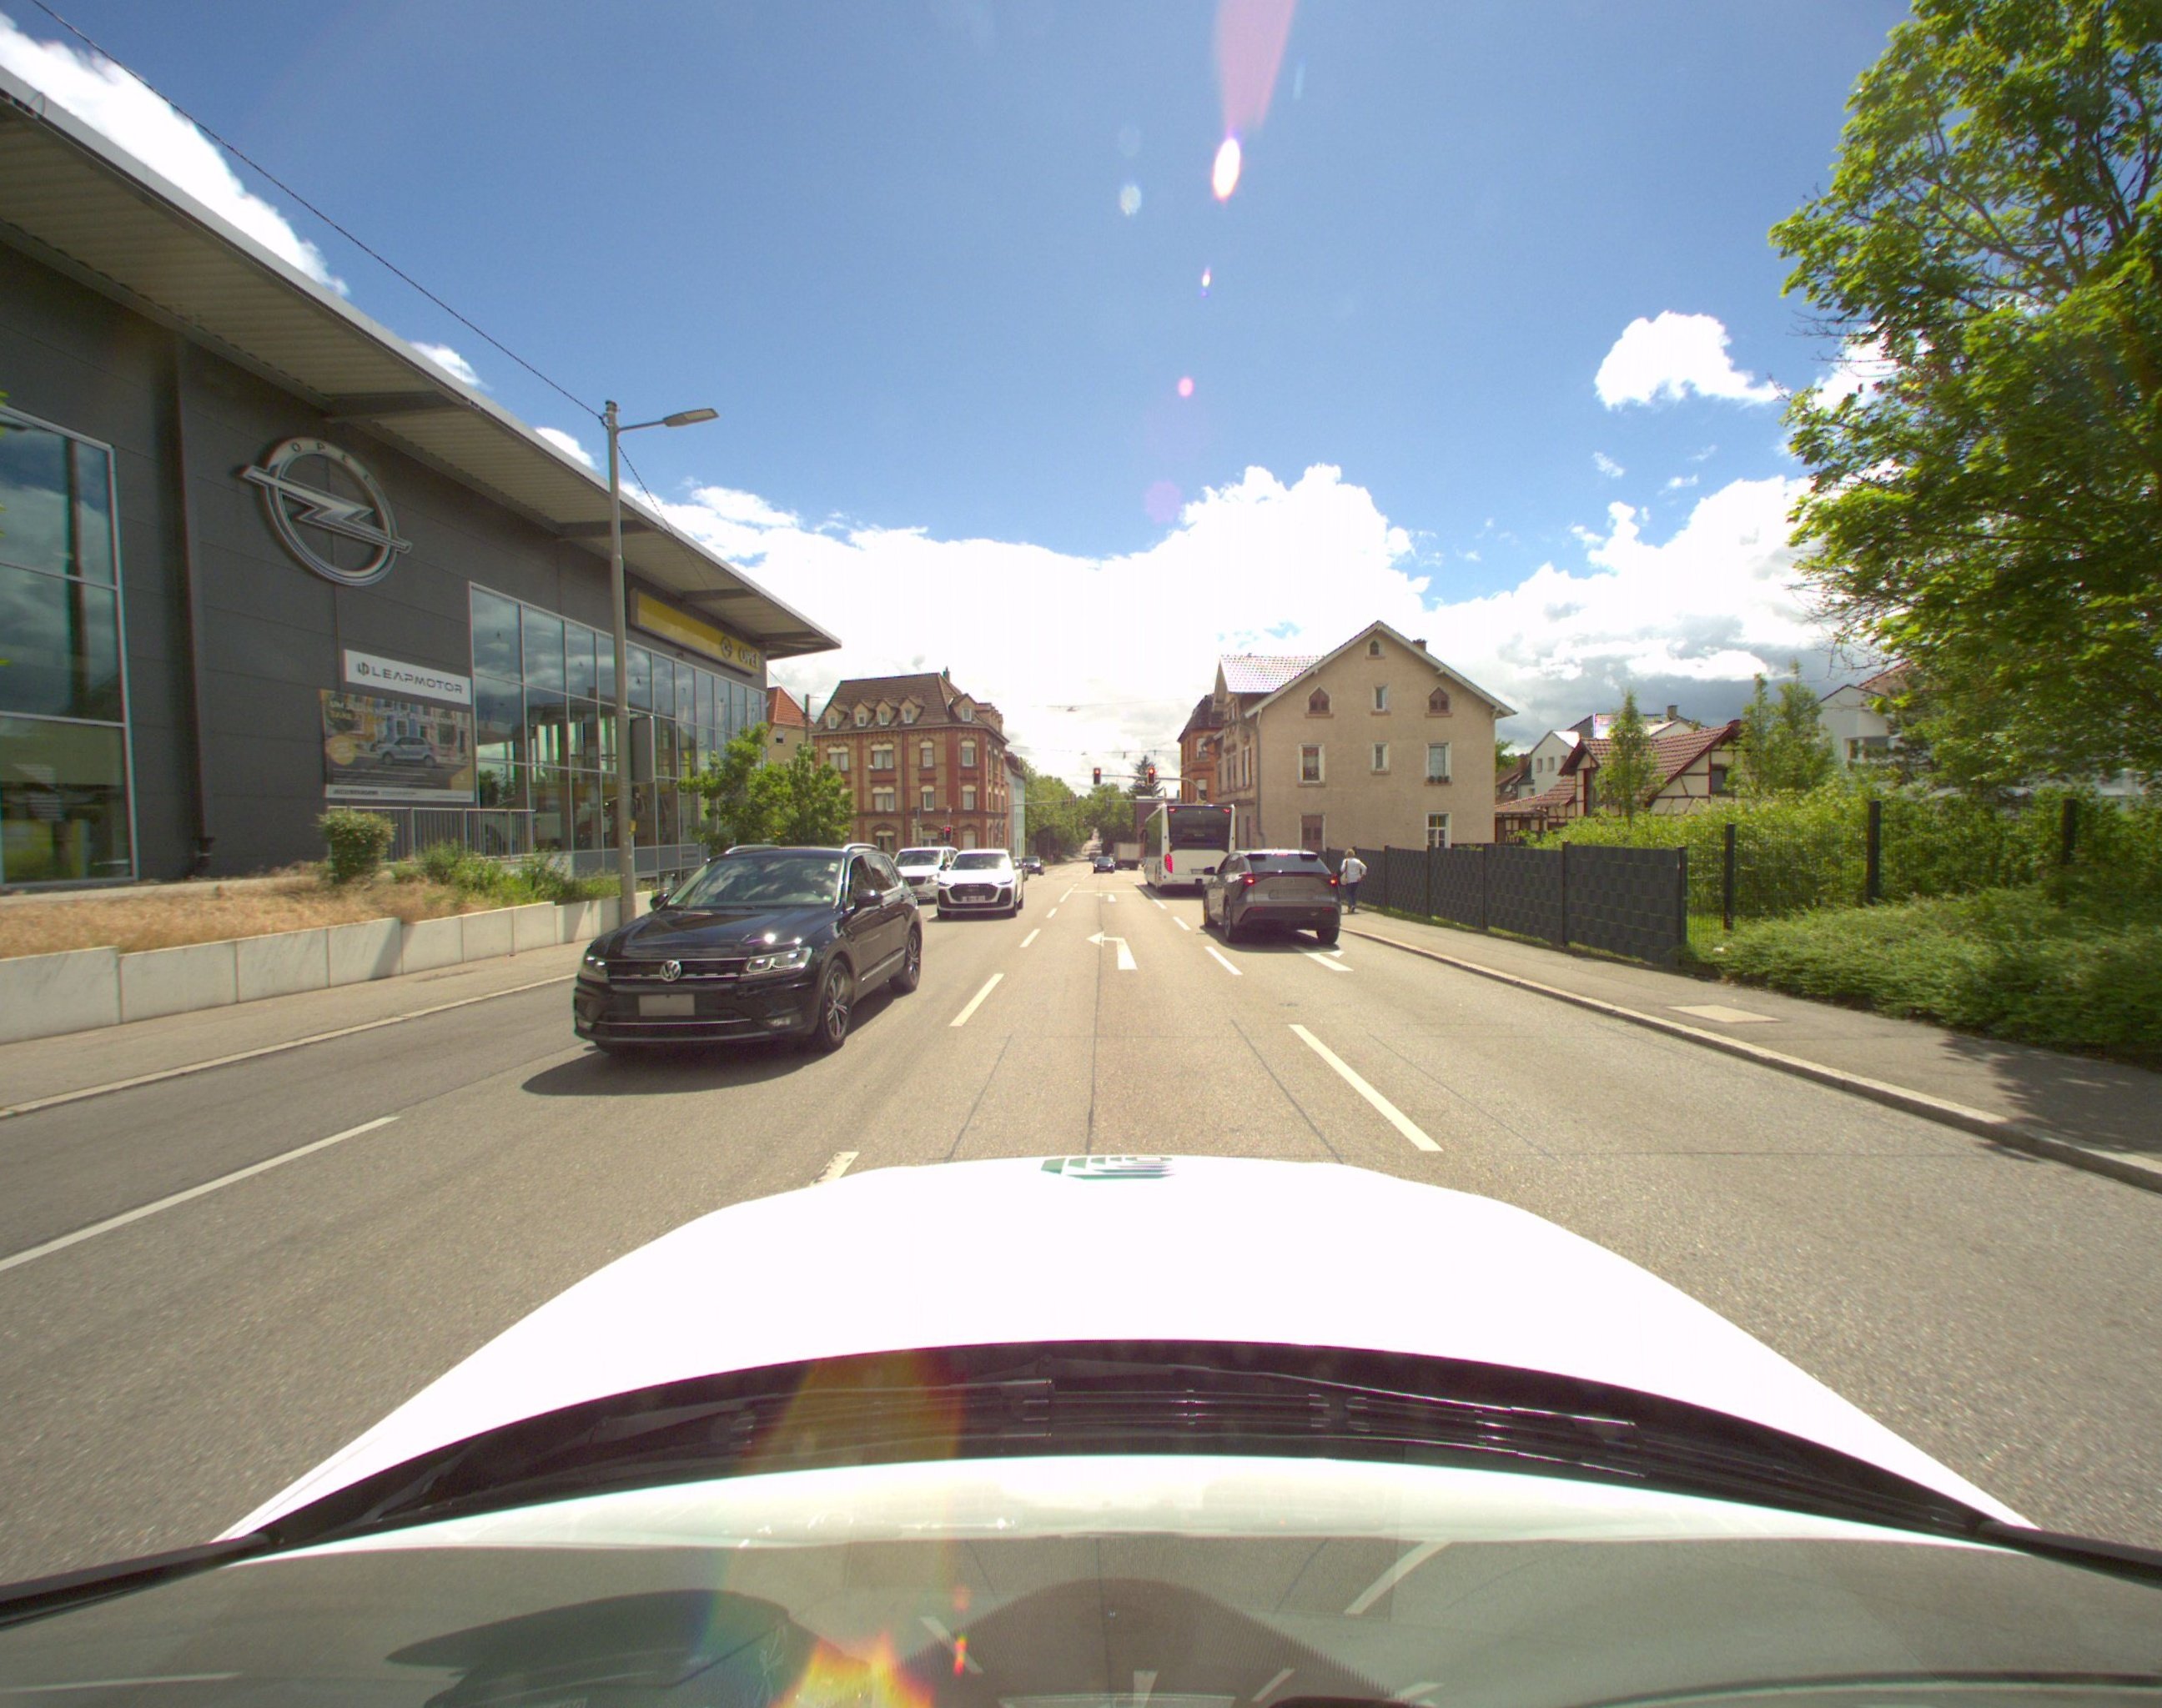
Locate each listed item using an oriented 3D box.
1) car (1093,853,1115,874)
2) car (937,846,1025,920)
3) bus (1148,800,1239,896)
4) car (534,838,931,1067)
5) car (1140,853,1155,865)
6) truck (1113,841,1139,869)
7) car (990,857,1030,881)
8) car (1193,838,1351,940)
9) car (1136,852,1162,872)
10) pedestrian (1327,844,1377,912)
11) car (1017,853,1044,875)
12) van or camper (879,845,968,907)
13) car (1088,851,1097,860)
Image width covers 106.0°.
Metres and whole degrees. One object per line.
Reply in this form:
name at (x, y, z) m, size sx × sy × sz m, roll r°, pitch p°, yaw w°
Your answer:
car at (1.965, 0.809, 71.223) m, size 1.857 × 1.666 × 4.260 m, roll -1°, pitch 0°, yaw 1°
car at (-2.432, 0.643, 20.749) m, size 1.859 × 1.656 × 4.374 m, roll -1°, pitch 0°, yaw -3°
bus at (4.296, -0.178, 33.654) m, size 2.790 × 3.198 × 12.206 m, roll -1°, pitch 0°, yaw 3°
car at (-2.754, 0.658, 7.603) m, size 1.857 × 1.540 × 4.108 m, roll -1°, pitch 0°, yaw 1°
car at (9.829, 0.756, 120.100) m, size 1.924 × 1.583 × 4.209 m, roll -2°, pitch 0°, yaw 1°
truck at (5.398, 0.077, 98.870) m, size 2.657 × 3.108 × 9.036 m, roll -2°, pitch 0°, yaw 1°
car at (-4.112, 0.851, 47.838) m, size 1.857 × 1.319 × 4.260 m, roll -1°, pitch 0°, yaw 1°
car at (3.313, 0.528, 15.014) m, size 1.924 × 1.583 × 4.207 m, roll -1°, pitch 1°, yaw 0°
car at (5.870, 0.638, 70.297) m, size 1.924 × 1.583 × 4.209 m, roll -2°, pitch 0°, yaw 1°
pedestrian at (6.628, 0.562, 19.952) m, size 0.810 × 1.581 × 1.070 m, roll -3°, pitch 0°, yaw 1°
car at (-4.066, 0.805, 66.168) m, size 1.857 × 1.666 × 4.260 m, roll -1°, pitch 0°, yaw 1°
van or camper at (-5.308, 0.683, 28.114) m, size 1.963 × 1.914 × 5.129 m, roll -1°, pitch 0°, yaw 1°
car at (2.502, 0.262, 180.110) m, size 1.826 × 1.881 × 4.000 m, roll -1°, pitch 1°, yaw 0°
